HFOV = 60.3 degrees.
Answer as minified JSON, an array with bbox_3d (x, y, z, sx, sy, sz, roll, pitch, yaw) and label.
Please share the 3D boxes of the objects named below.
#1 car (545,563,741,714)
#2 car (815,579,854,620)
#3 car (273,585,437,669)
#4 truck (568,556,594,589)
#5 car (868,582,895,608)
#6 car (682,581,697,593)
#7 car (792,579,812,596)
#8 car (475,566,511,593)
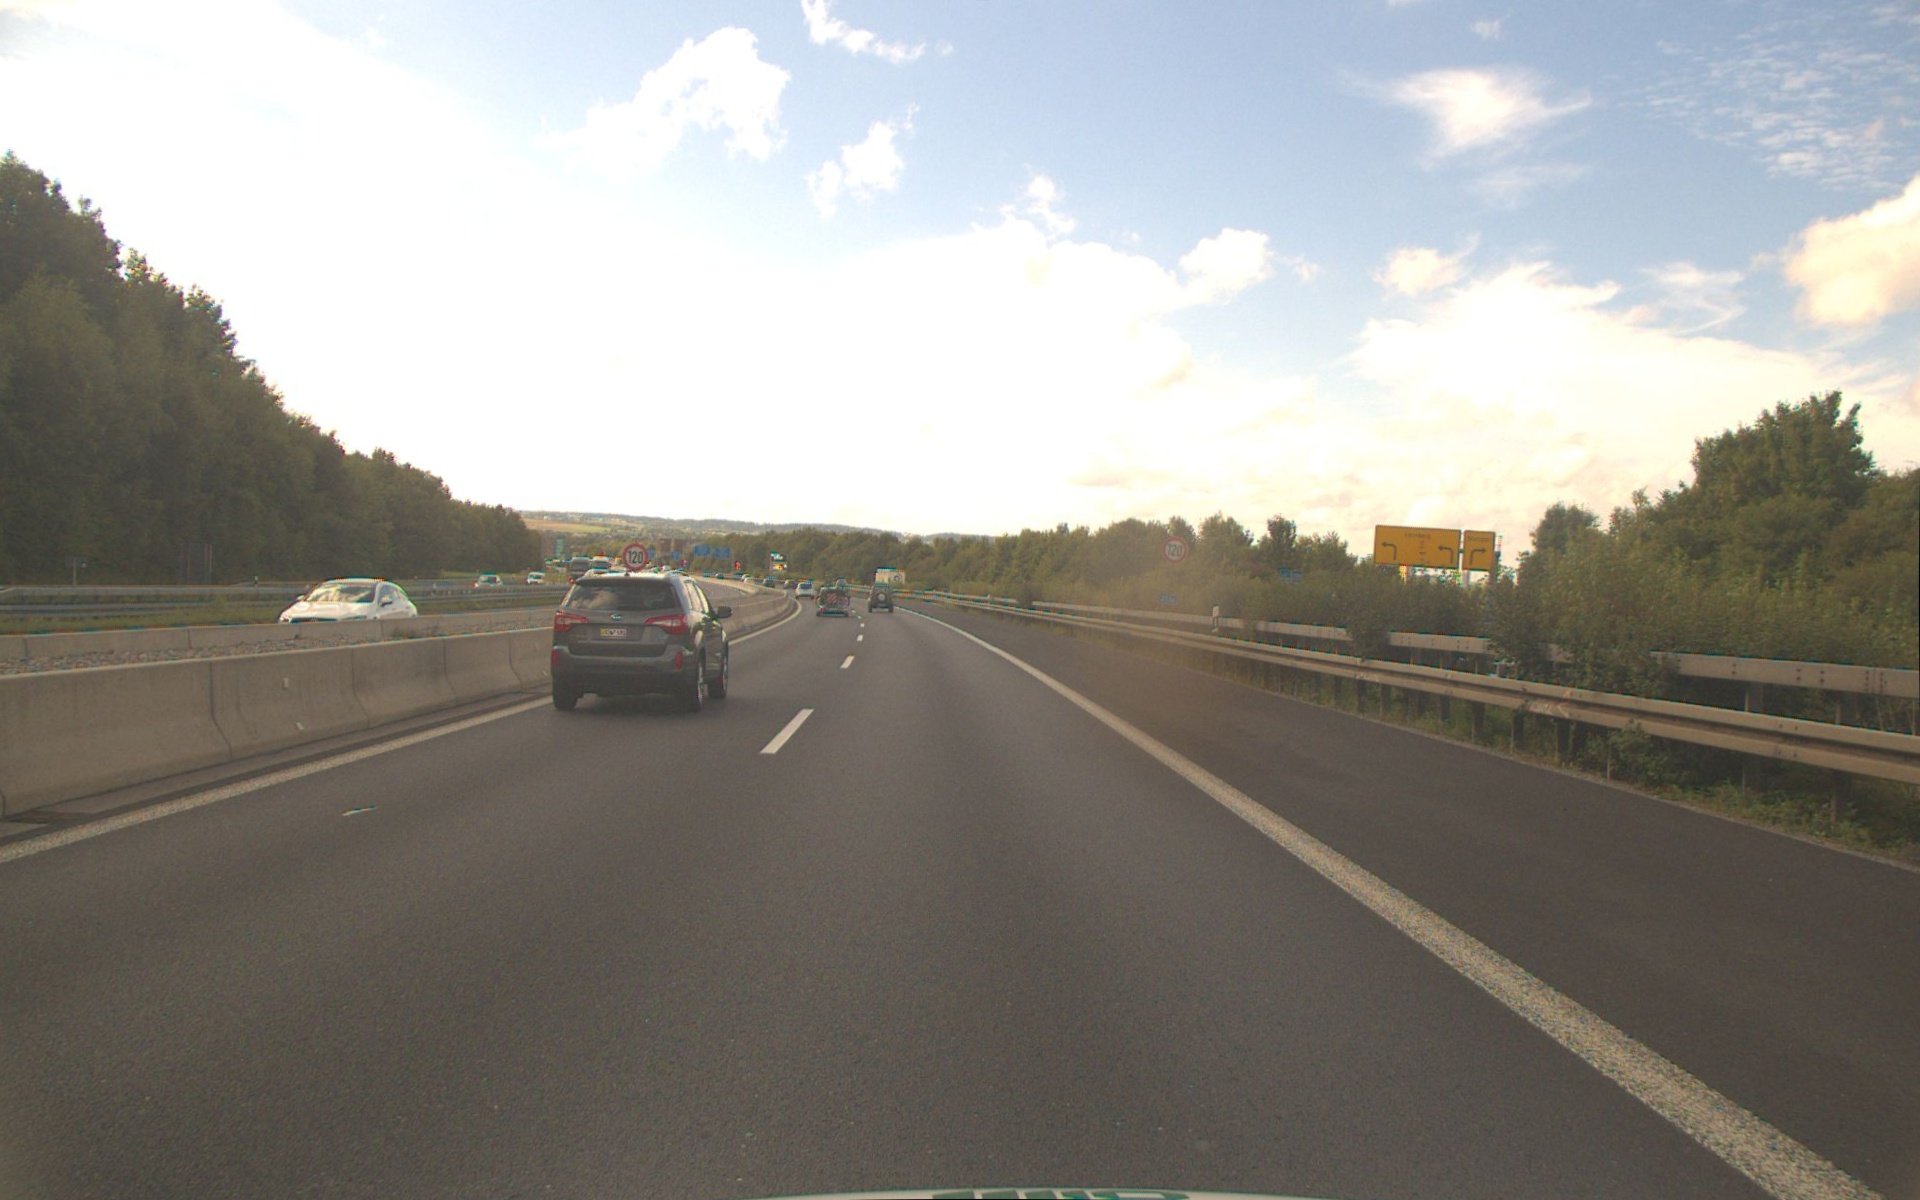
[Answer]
[{"bbox_3d":[-4.108,0.457,22.239,1.781,1.766,5.184,1,0,-2],"label":"car"},{"bbox_3d":[-6.826,-0.053,90.262,1.990,2.189,3.998,1,1,-3],"label":"car"},{"bbox_3d":[-12.708,0.519,35.102,1.729,1.609,4.931,1,0,-1],"label":"car"},{"bbox_3d":[-46.288,-3.290,201.884,2.759,3.893,7.110,1,0,-11],"label":"truck"},{"bbox_3d":[-5.111,-0.344,107.347,1.556,1.625,4.092,1,1,-5],"label":"car"},{"bbox_3d":[-37.821,-1.814,231.302,1.679,1.554,4.760,1,-1,-6],"label":"car"},{"bbox_3d":[-16.722,-1.334,174.598,1.956,1.713,3.993,1,-1,-8],"label":"car"},{"bbox_3d":[-37.582,-1.638,133.114,1.954,2.049,3.997,1,0,-4],"label":"car"}]
